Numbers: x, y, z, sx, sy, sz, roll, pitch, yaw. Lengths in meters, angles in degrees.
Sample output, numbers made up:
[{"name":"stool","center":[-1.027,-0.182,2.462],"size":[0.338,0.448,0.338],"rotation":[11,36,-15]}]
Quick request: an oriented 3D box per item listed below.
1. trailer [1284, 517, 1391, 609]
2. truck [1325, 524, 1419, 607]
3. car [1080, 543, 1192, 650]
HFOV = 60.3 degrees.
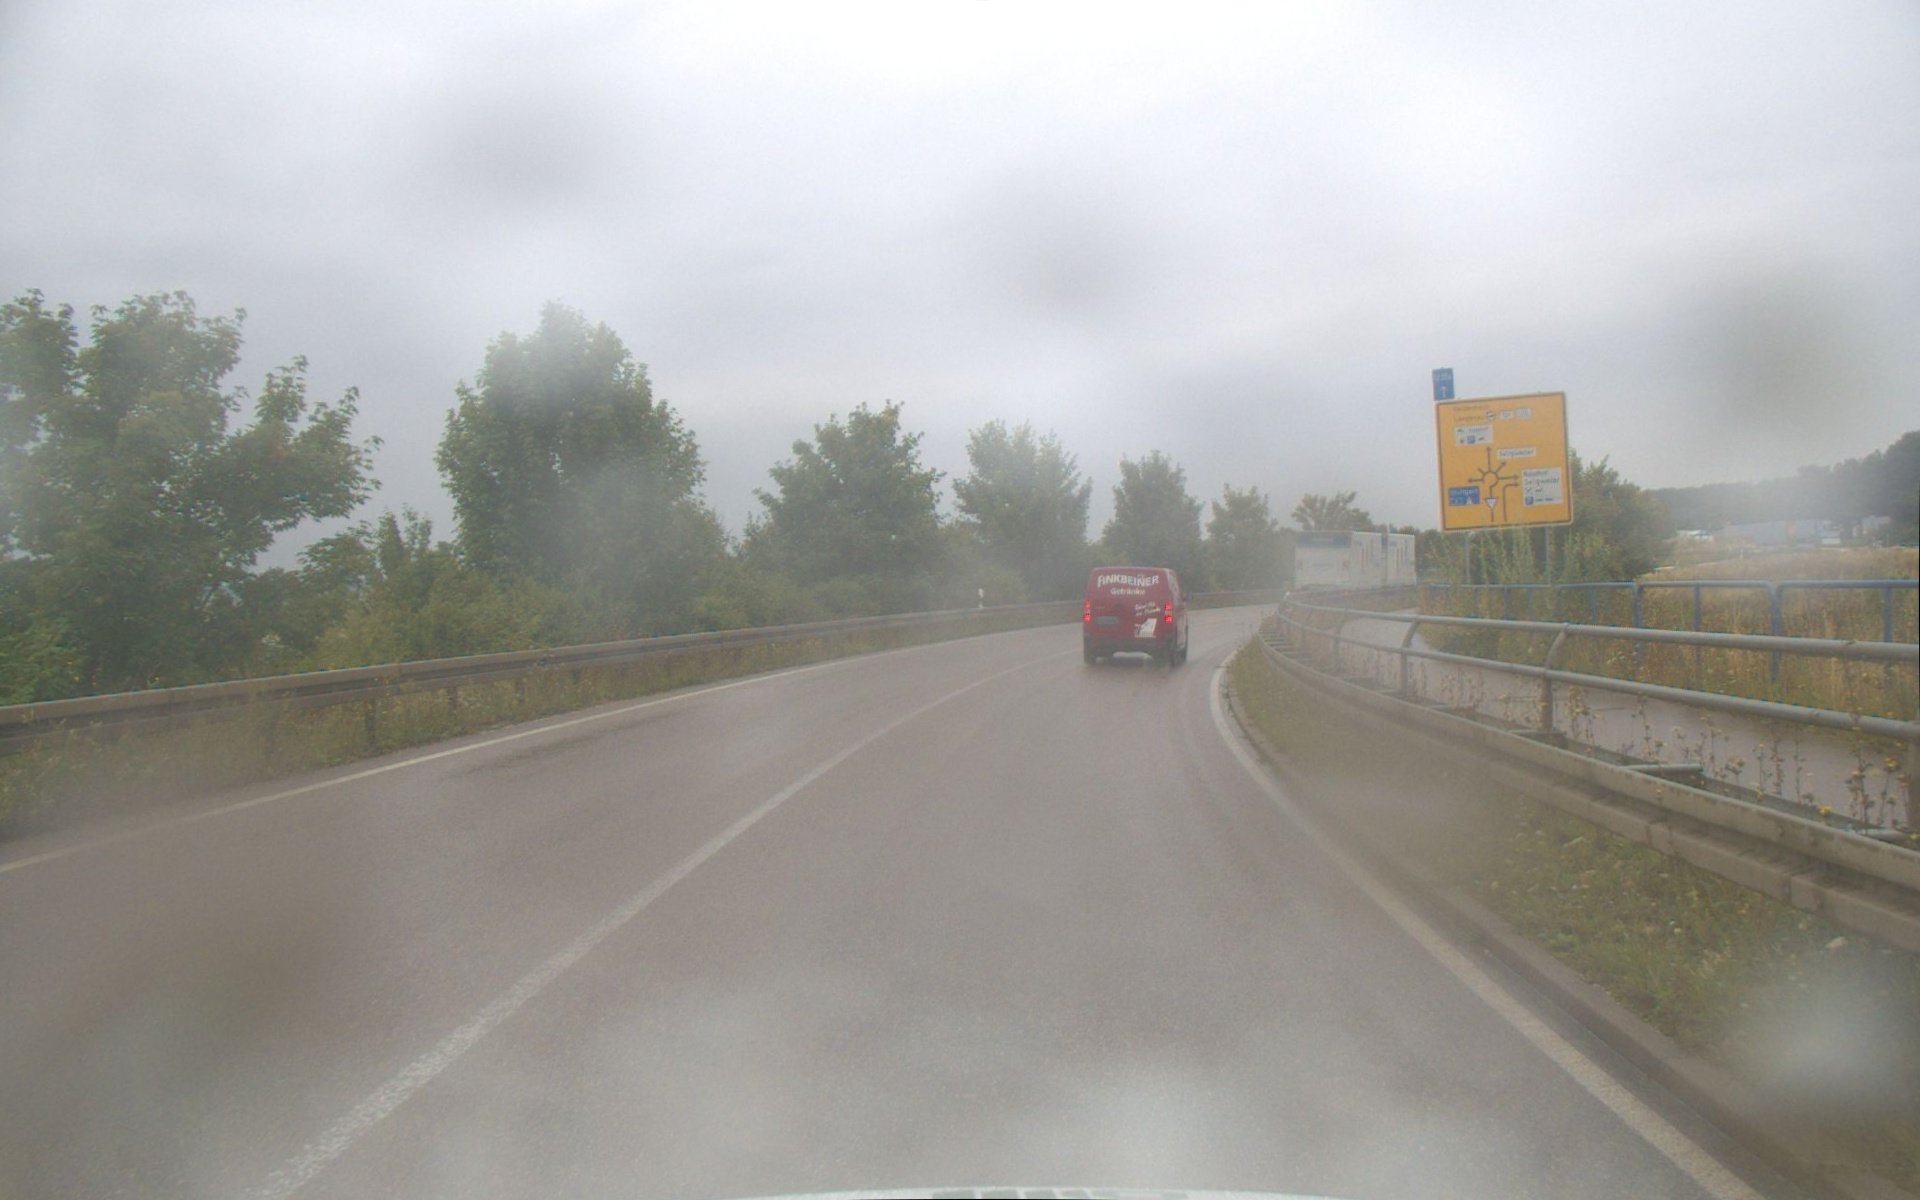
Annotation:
[{"name":"trailer","center":[17.465,-1.620,76.088],"size":[3.137,3.990,8.735],"rotation":[0,0,24]},{"name":"truck","center":[21.051,-1.697,84.074],"size":[3.137,3.990,8.735],"rotation":[0,0,24]},{"name":"car","center":[3.656,-0.112,33.768],"size":[1.951,1.959,4.147],"rotation":[-2,1,9]}]
